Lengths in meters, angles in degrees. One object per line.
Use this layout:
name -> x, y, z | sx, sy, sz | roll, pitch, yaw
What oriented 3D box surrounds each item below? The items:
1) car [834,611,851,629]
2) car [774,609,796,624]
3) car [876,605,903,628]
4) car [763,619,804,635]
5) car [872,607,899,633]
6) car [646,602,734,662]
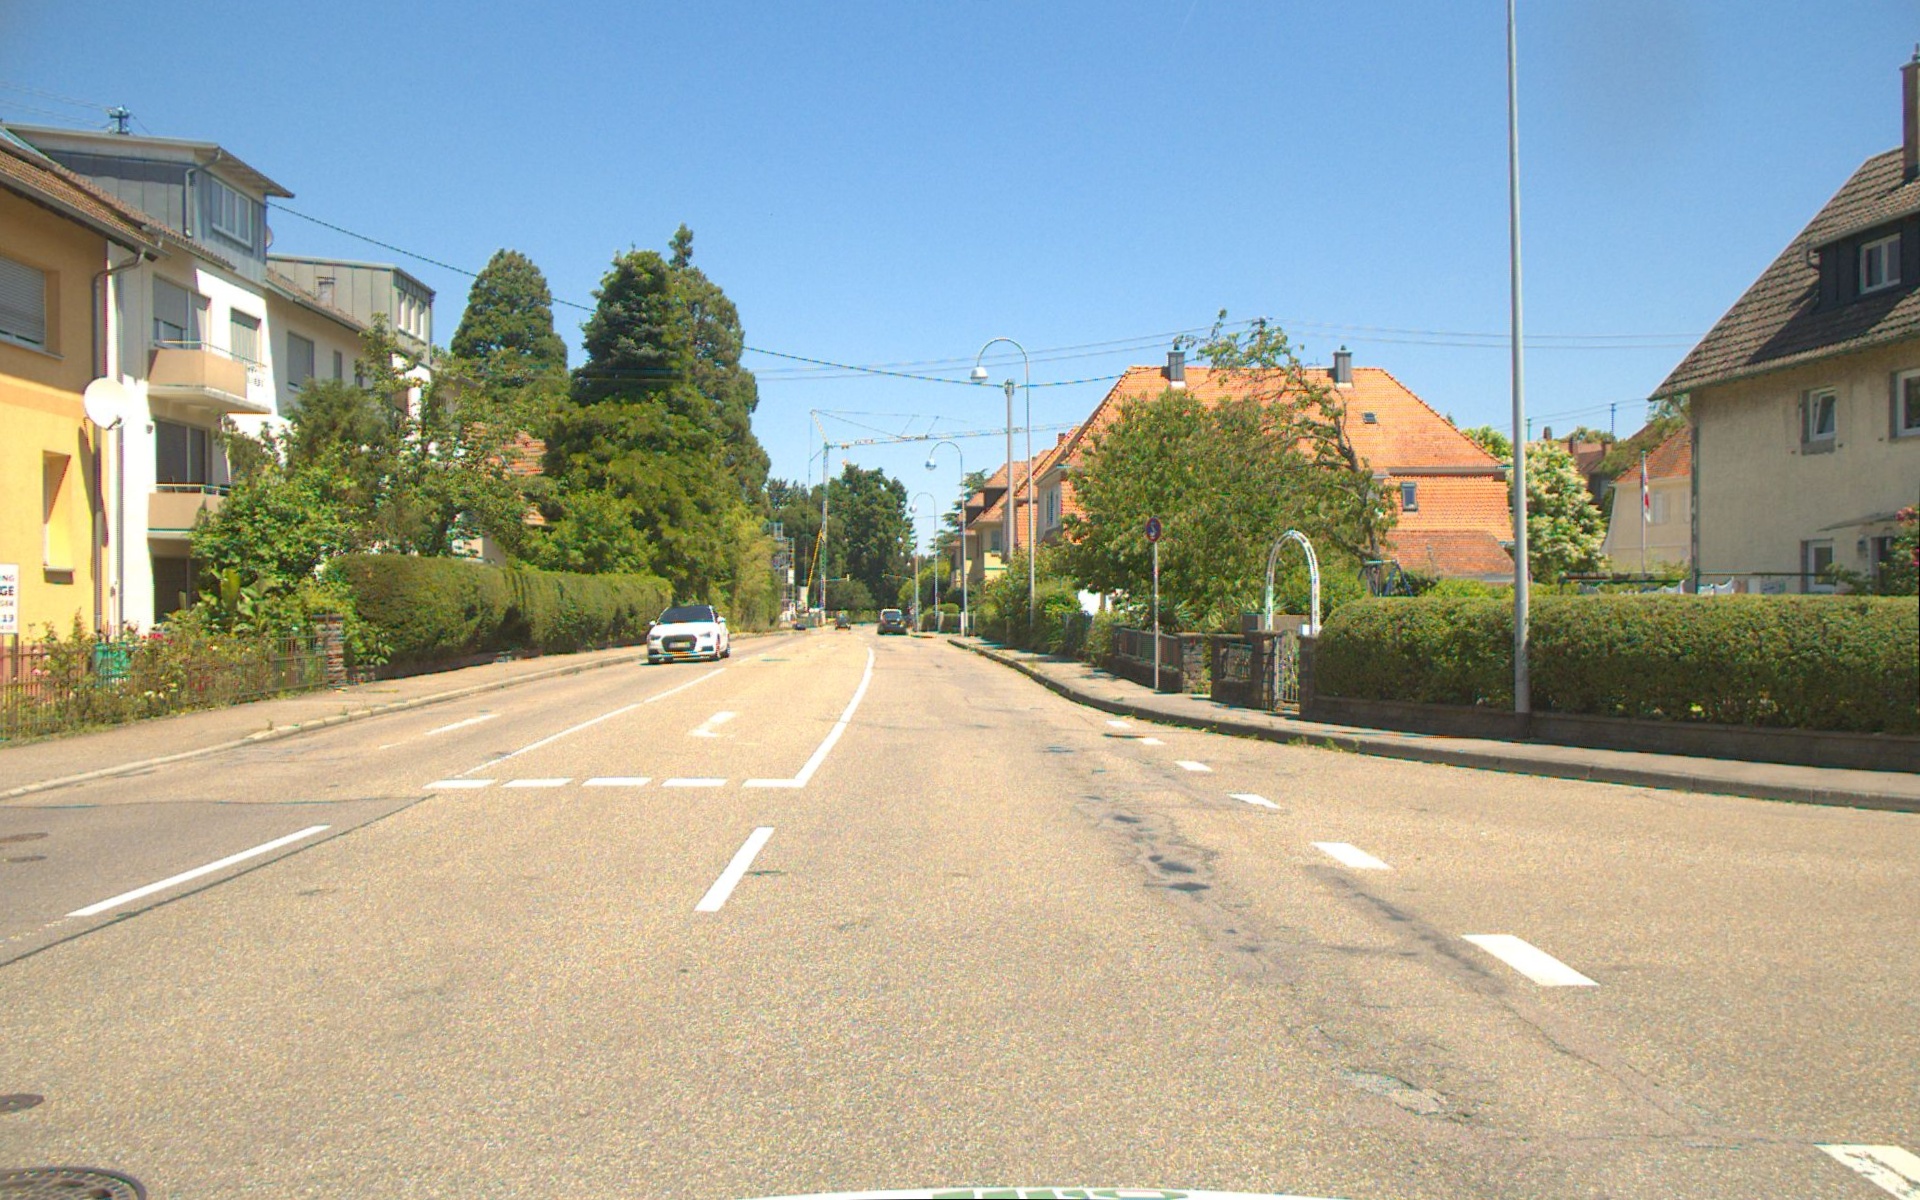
car -> -13.658, 2.359, 192.855 | 1.954, 1.883, 4.707 | 0, 2, -4
car -> -17.758, 1.668, 167.896 | 1.625, 1.413, 3.535 | -1, -1, 2
car -> -4.720, 1.100, 110.378 | 1.659, 1.444, 4.546 | 0, -1, -4
car -> -18.743, 2.862, 175.405 | 3.902, 1.494, 1.967 | -2, 0, 11
car -> -5.903, 1.570, 130.117 | 1.954, 1.934, 4.818 | 2, -1, -4
car -> -6.849, 0.776, 42.261 | 1.646, 1.396, 4.205 | -2, 0, -2
